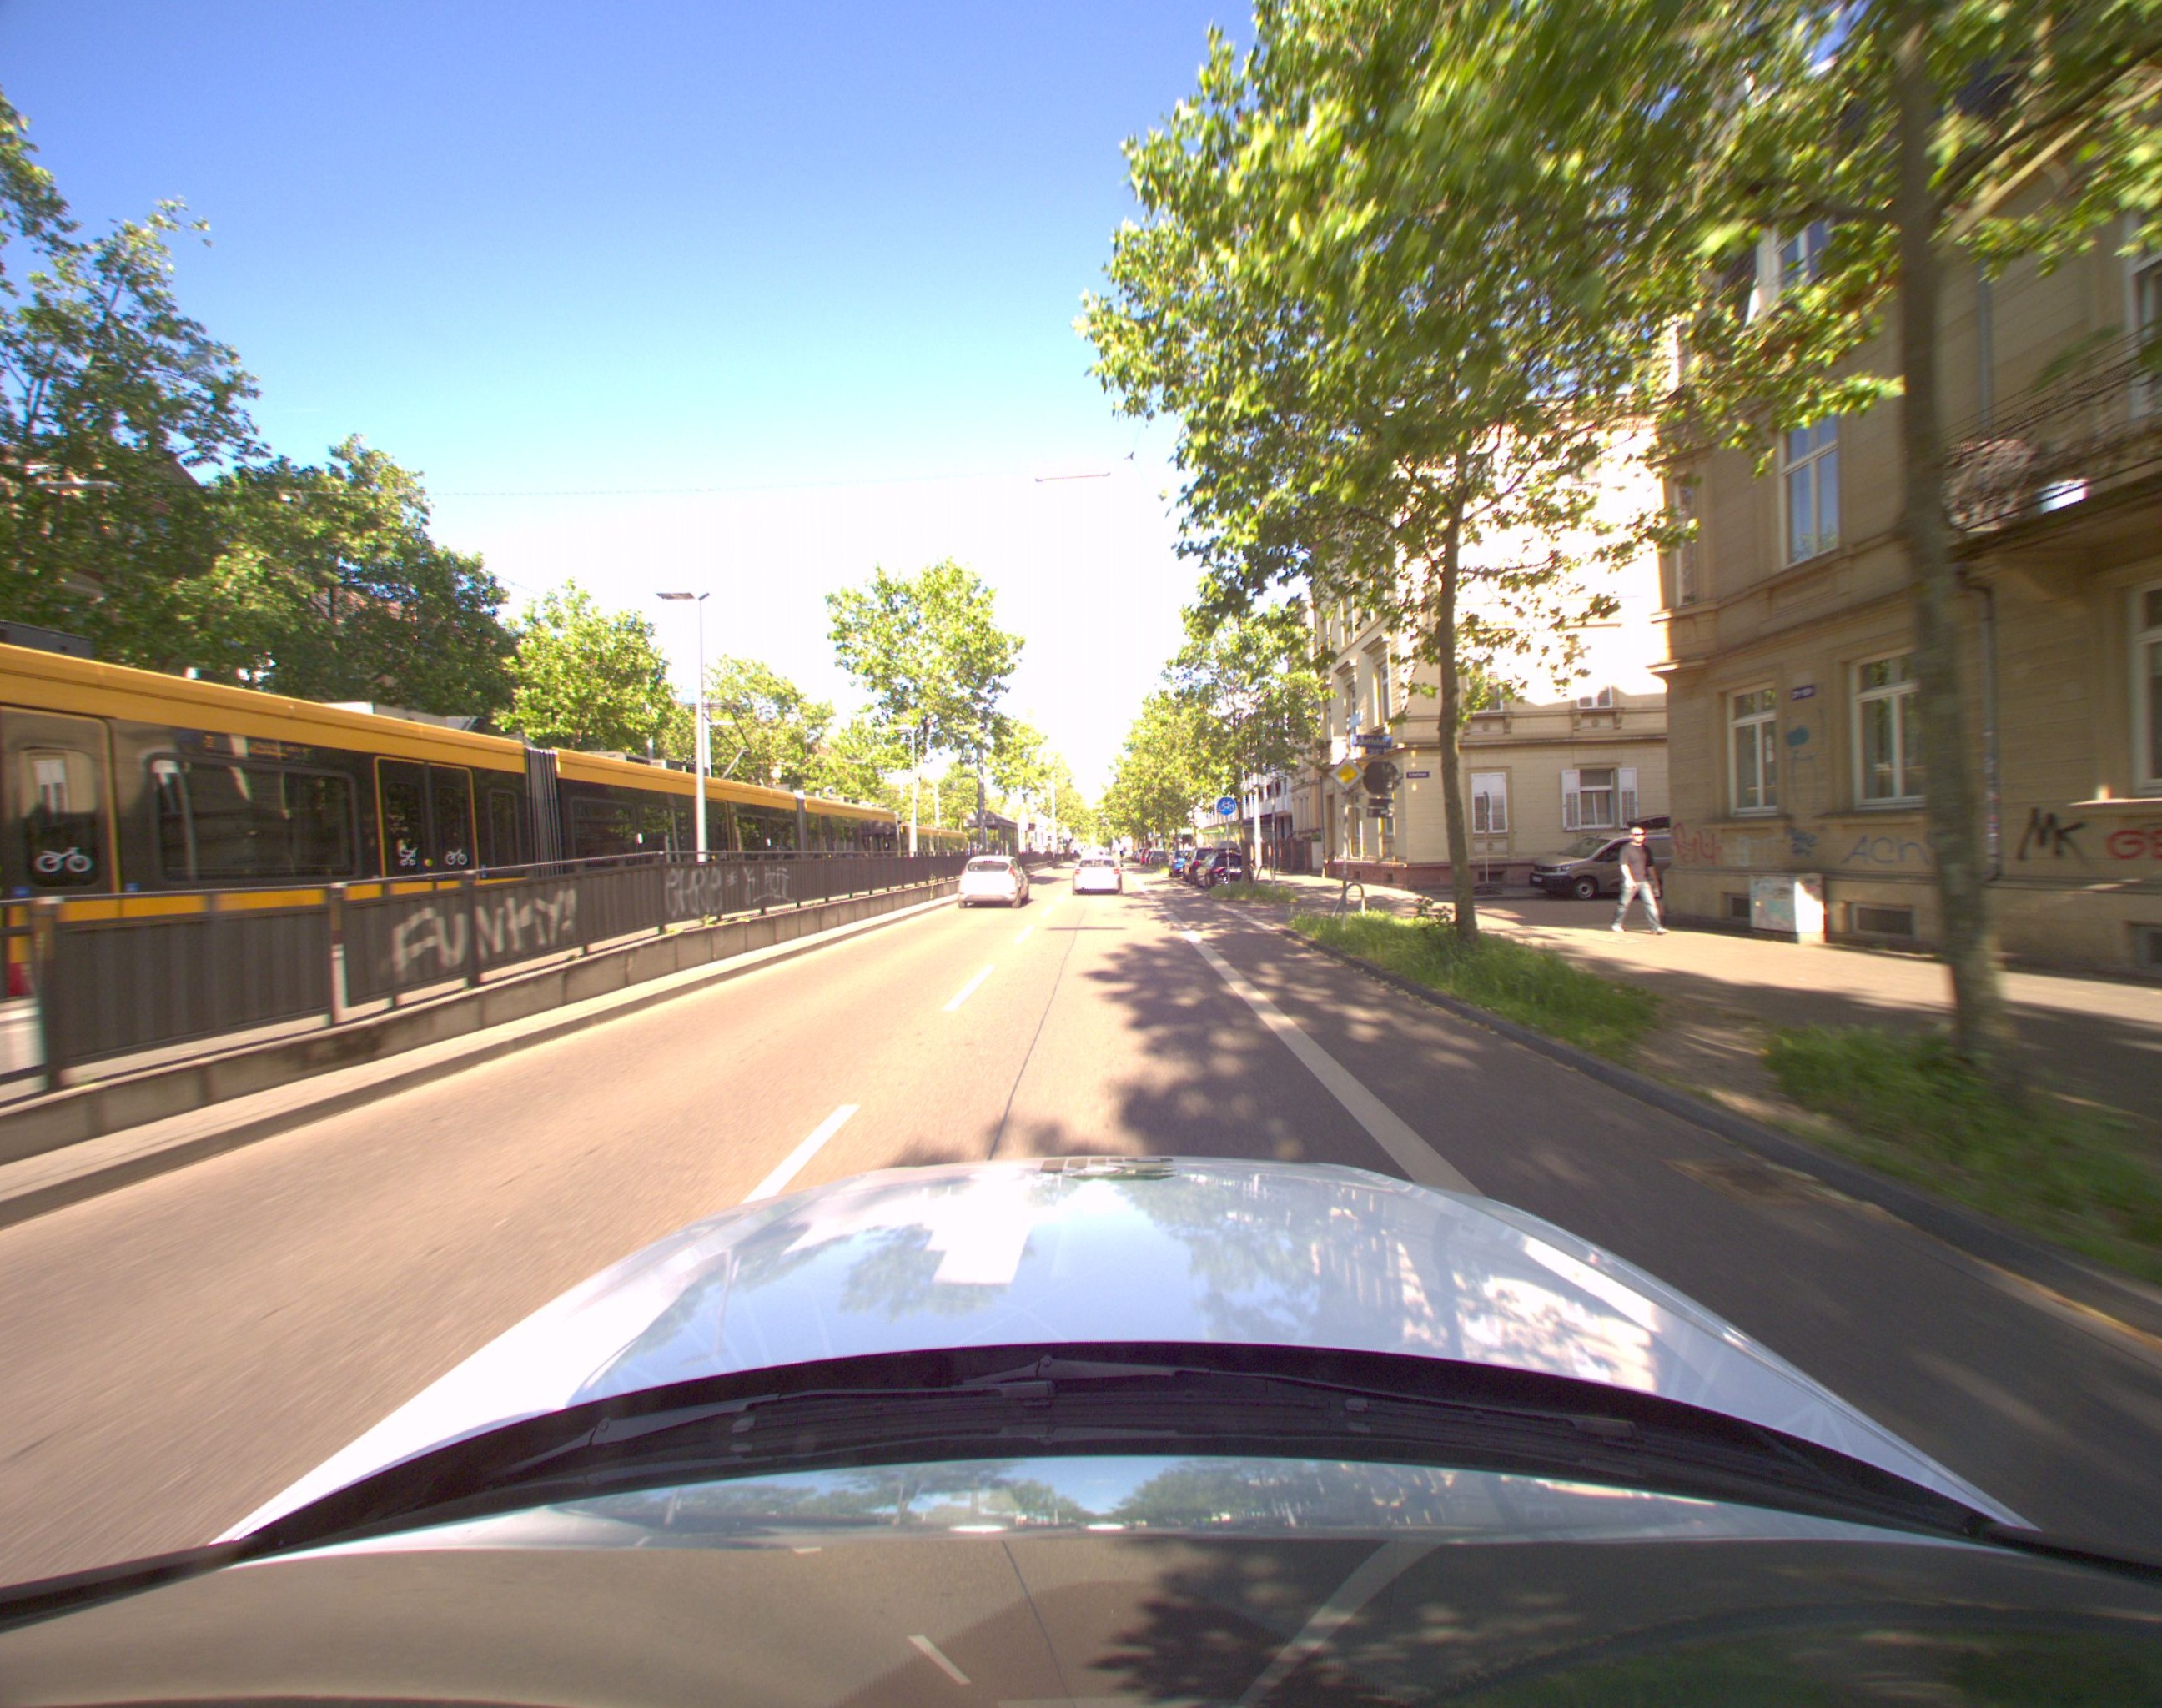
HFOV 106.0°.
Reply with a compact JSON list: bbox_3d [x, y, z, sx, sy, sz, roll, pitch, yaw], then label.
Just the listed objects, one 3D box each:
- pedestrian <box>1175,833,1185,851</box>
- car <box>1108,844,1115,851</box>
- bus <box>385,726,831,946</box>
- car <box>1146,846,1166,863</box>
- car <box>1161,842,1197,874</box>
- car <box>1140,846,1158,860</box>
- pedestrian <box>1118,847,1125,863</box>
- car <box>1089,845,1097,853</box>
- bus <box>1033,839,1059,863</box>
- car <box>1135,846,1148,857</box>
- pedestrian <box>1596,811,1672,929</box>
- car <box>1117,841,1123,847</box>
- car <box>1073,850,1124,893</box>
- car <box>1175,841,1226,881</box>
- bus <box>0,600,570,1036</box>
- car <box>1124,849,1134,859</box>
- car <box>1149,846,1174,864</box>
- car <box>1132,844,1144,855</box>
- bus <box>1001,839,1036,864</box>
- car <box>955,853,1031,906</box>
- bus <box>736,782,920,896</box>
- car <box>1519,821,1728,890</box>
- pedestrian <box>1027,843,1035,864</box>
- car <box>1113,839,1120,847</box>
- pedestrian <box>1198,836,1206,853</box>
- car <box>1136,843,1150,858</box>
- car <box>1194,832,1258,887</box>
[{"bbox_3d":[11.254,-1.381,92.344,0.960,2.013,0.939,-2,0,2],"label":"pedestrian"},{"bbox_3d":[9.499,-1.982,250.269,2.063,2.013,4.002,-2,0,2],"label":"car"},{"bbox_3d":[-9.491,-0.344,19.191,2.858,3.444,12.222,-2,1,2],"label":"bus"},{"bbox_3d":[7.244,0.042,78.703,1.663,1.551,4.002,0,1,2],"label":"car"},{"bbox_3d":[5.659,0.196,47.382,1.685,1.658,4.041,-2,1,2],"label":"car"},{"bbox_3d":[7.367,-0.131,88.788,1.799,1.520,4.002,0,0,2],"label":"car"},{"bbox_3d":[5.350,0.125,107.327,0.833,2.013,0.650,0,1,9],"label":"pedestrian"},{"bbox_3d":[3.248,-1.337,214.333,1.986,2.013,4.002,0,1,2],"label":"car"},{"bbox_3d":[-5.694,-0.535,136.345,2.739,3.625,18.858,-2,1,2],"label":"bus"},{"bbox_3d":[8.430,-0.375,114.093,1.704,1.563,4.002,0,1,2],"label":"car"},{"bbox_3d":[8.916,0.244,13.168,0.562,1.826,0.959,0,1,-1],"label":"pedestrian"},{"bbox_3d":[12.563,-3.270,260.973,1.868,2.013,3.713,0,1,2],"label":"car"},{"bbox_3d":[0.636,0.584,30.055,1.756,1.432,4.001,0,1,1],"label":"car"},{"bbox_3d":[5.468,0.274,37.739,1.791,1.700,4.739,-2,0,2],"label":"car"},{"bbox_3d":[-9.951,-0.252,6.493,2.858,3.444,13.224,-2,1,2],"label":"bus"},{"bbox_3d":[10.731,-0.023,181.804,1.986,2.013,4.002,0,1,2],"label":"car"},{"bbox_3d":[7.214,0.110,73.354,1.986,1.509,4.600,0,0,2],"label":"car"},{"bbox_3d":[8.413,-0.662,120.683,1.694,1.534,3.719,0,1,2],"label":"car"},{"bbox_3d":[-10.193,-0.530,136.653,2.858,3.628,24.617,-2,1,2],"label":"bus"},{"bbox_3d":[-2.443,0.670,23.497,1.640,1.362,3.762,0,1,2],"label":"car"},{"bbox_3d":[-9.000,-0.527,31.084,2.858,3.444,11.618,-2,1,2],"label":"bus"},{"bbox_3d":[15.172,0.026,22.994,4.561,1.773,1.924,-1,1,5],"label":"car"},{"bbox_3d":[-4.673,-0.034,75.783,0.636,1.954,0.814,0,1,2],"label":"pedestrian"},{"bbox_3d":[10.485,-3.183,237.978,1.986,2.014,4.002,-1,-1,2],"label":"car"},{"bbox_3d":[14.350,-1.086,96.651,0.785,2.013,0.891,-1,0,2],"label":"pedestrian"},{"bbox_3d":[7.953,-0.410,104.437,1.718,1.880,4.002,0,0,2],"label":"car"},{"bbox_3d":[5.558,0.175,31.803,1.748,1.964,4.739,-1,1,2],"label":"car"}]
